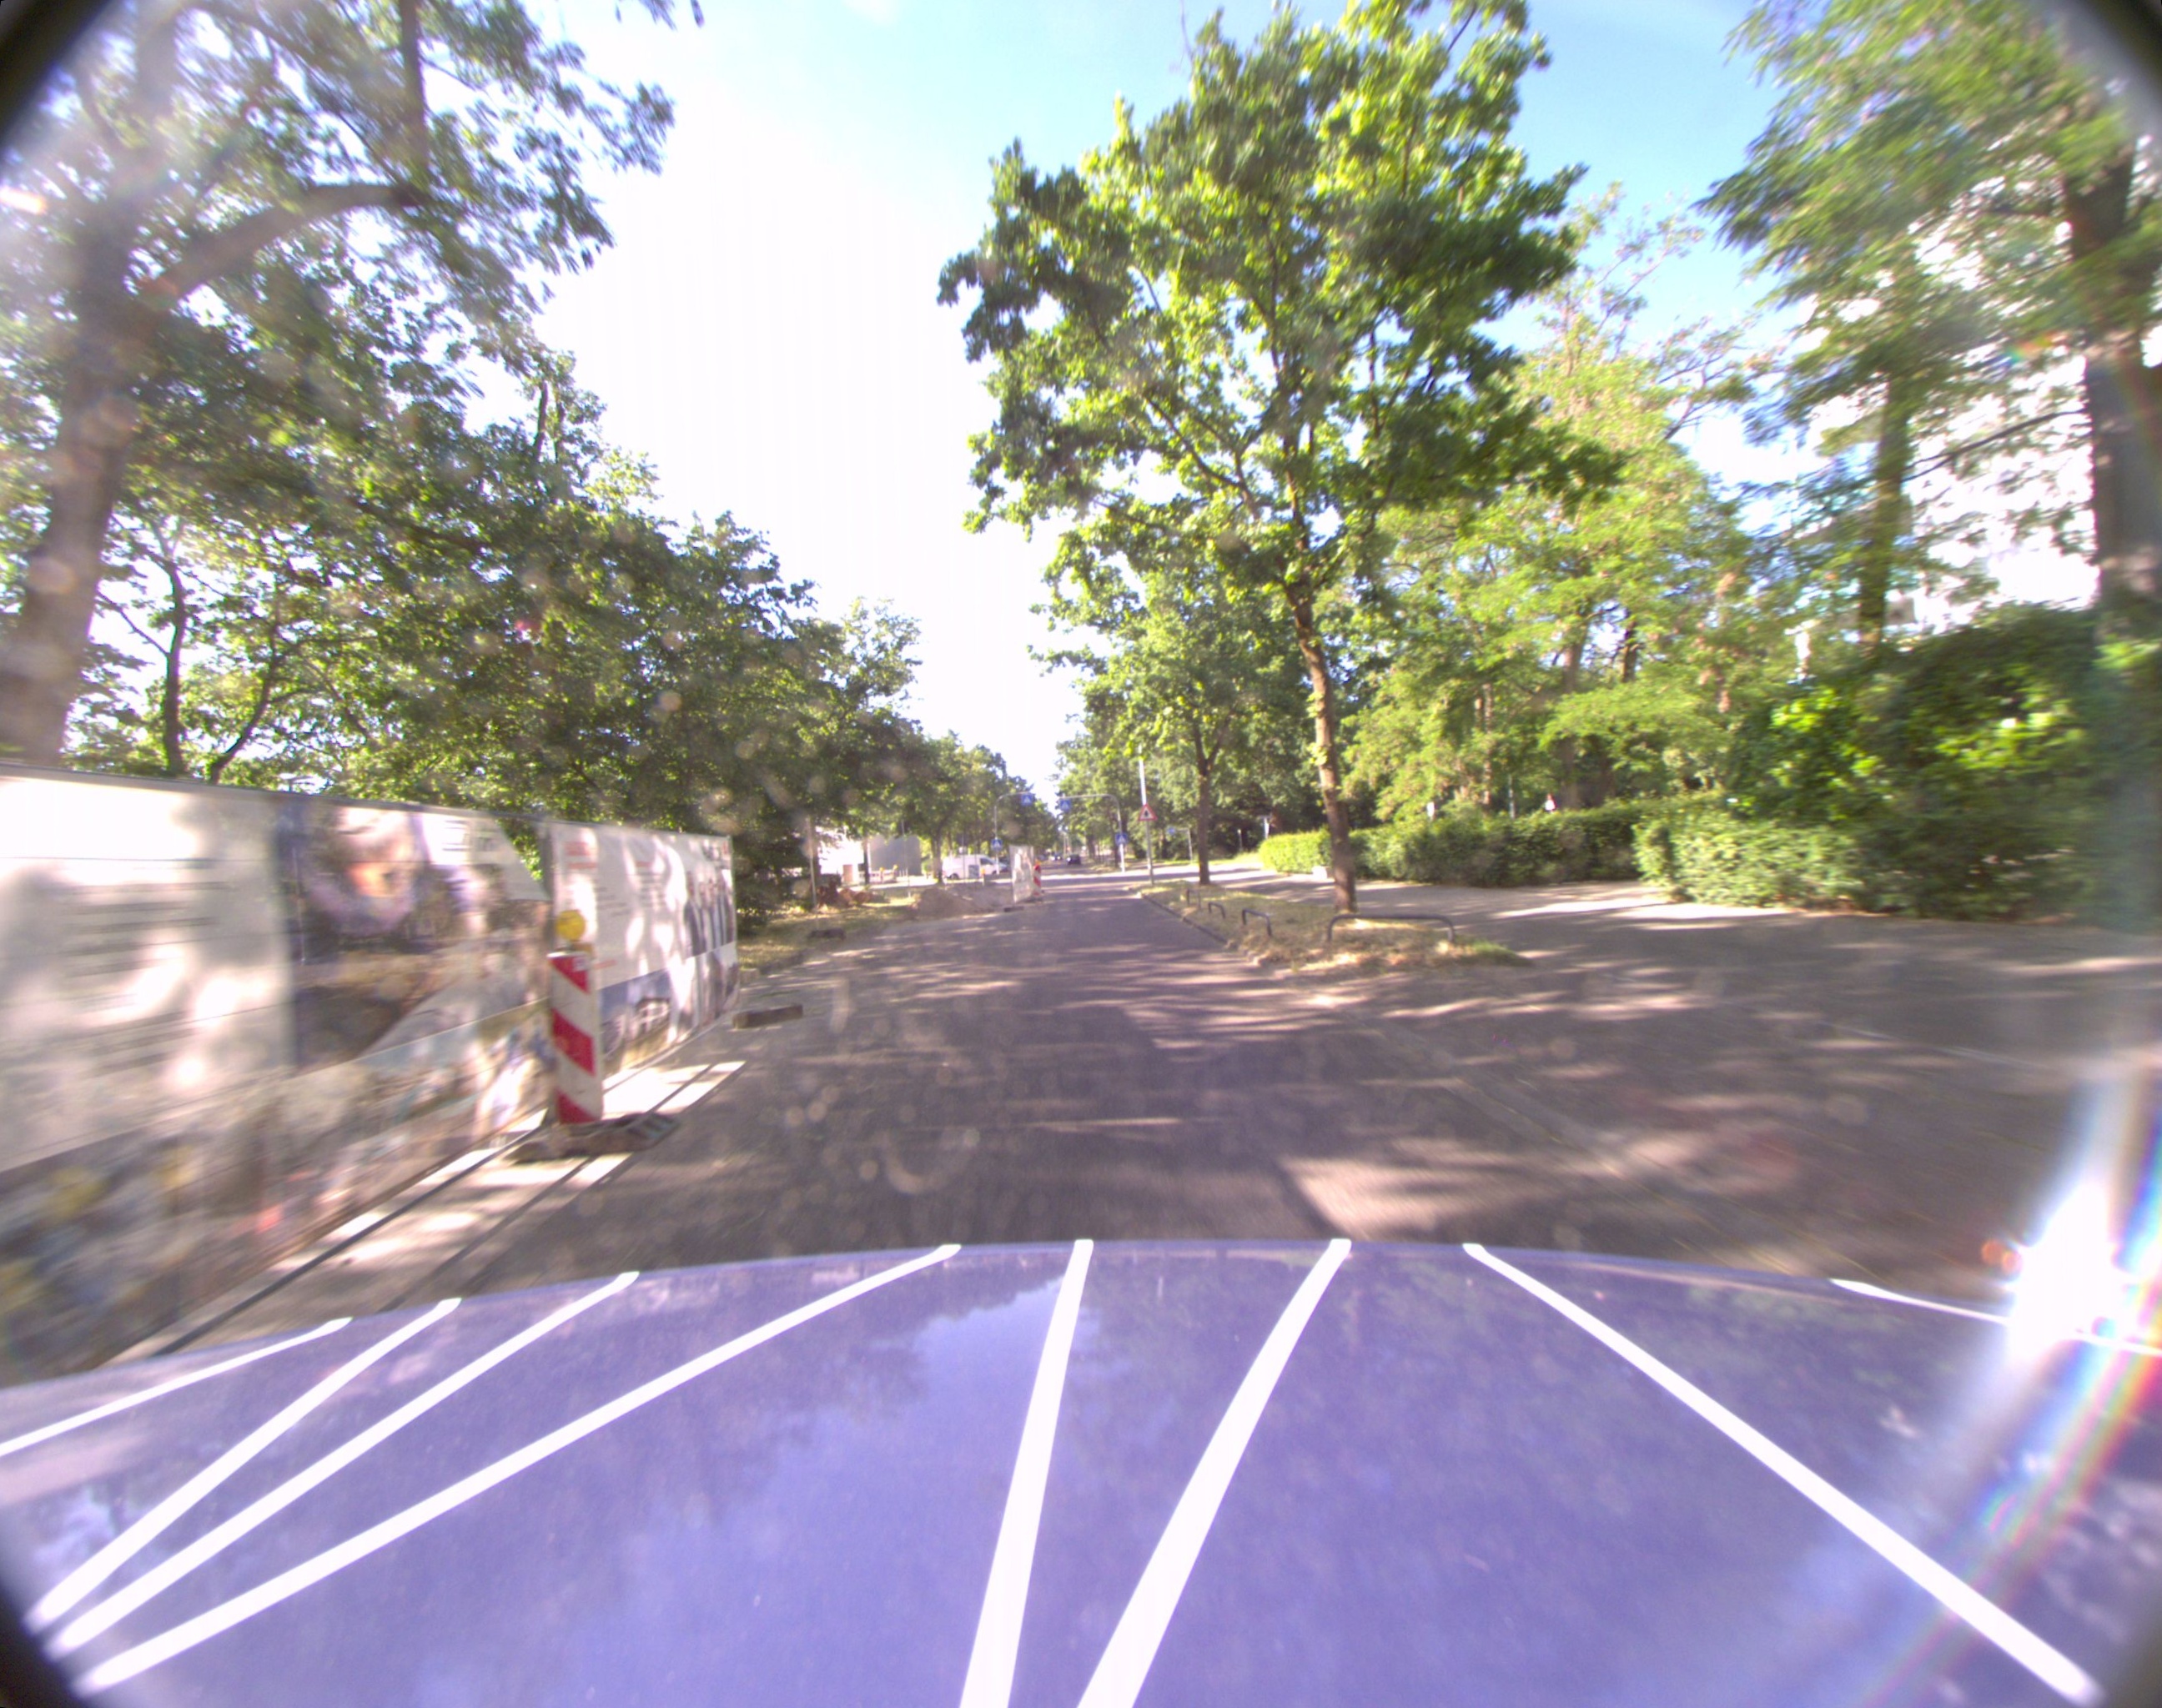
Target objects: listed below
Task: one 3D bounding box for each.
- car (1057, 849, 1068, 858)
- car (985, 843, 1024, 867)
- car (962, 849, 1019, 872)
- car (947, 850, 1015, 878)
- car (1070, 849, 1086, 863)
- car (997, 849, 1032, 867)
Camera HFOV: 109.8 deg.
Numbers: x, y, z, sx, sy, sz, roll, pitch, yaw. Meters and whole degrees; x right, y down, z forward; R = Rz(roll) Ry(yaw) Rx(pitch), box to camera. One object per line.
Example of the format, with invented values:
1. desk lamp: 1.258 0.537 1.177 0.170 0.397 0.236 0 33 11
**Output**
1. car: -4.039 -0.099 166.568 1.998 1.871 4.000 -2 1 1
2. car: -8.986 0.144 89.536 4.412 2.531 1.888 -3 0 -4
3. car: -9.132 0.666 77.284 5.584 1.993 1.999 -3 0 -4
4. car: -8.137 0.837 62.119 5.269 1.993 2.000 -3 0 -2
5. car: -0.447 0.322 110.044 1.998 1.805 4.000 -5 0 2
6. car: -8.284 0.449 94.802 4.245 1.993 1.565 -3 0 -4
